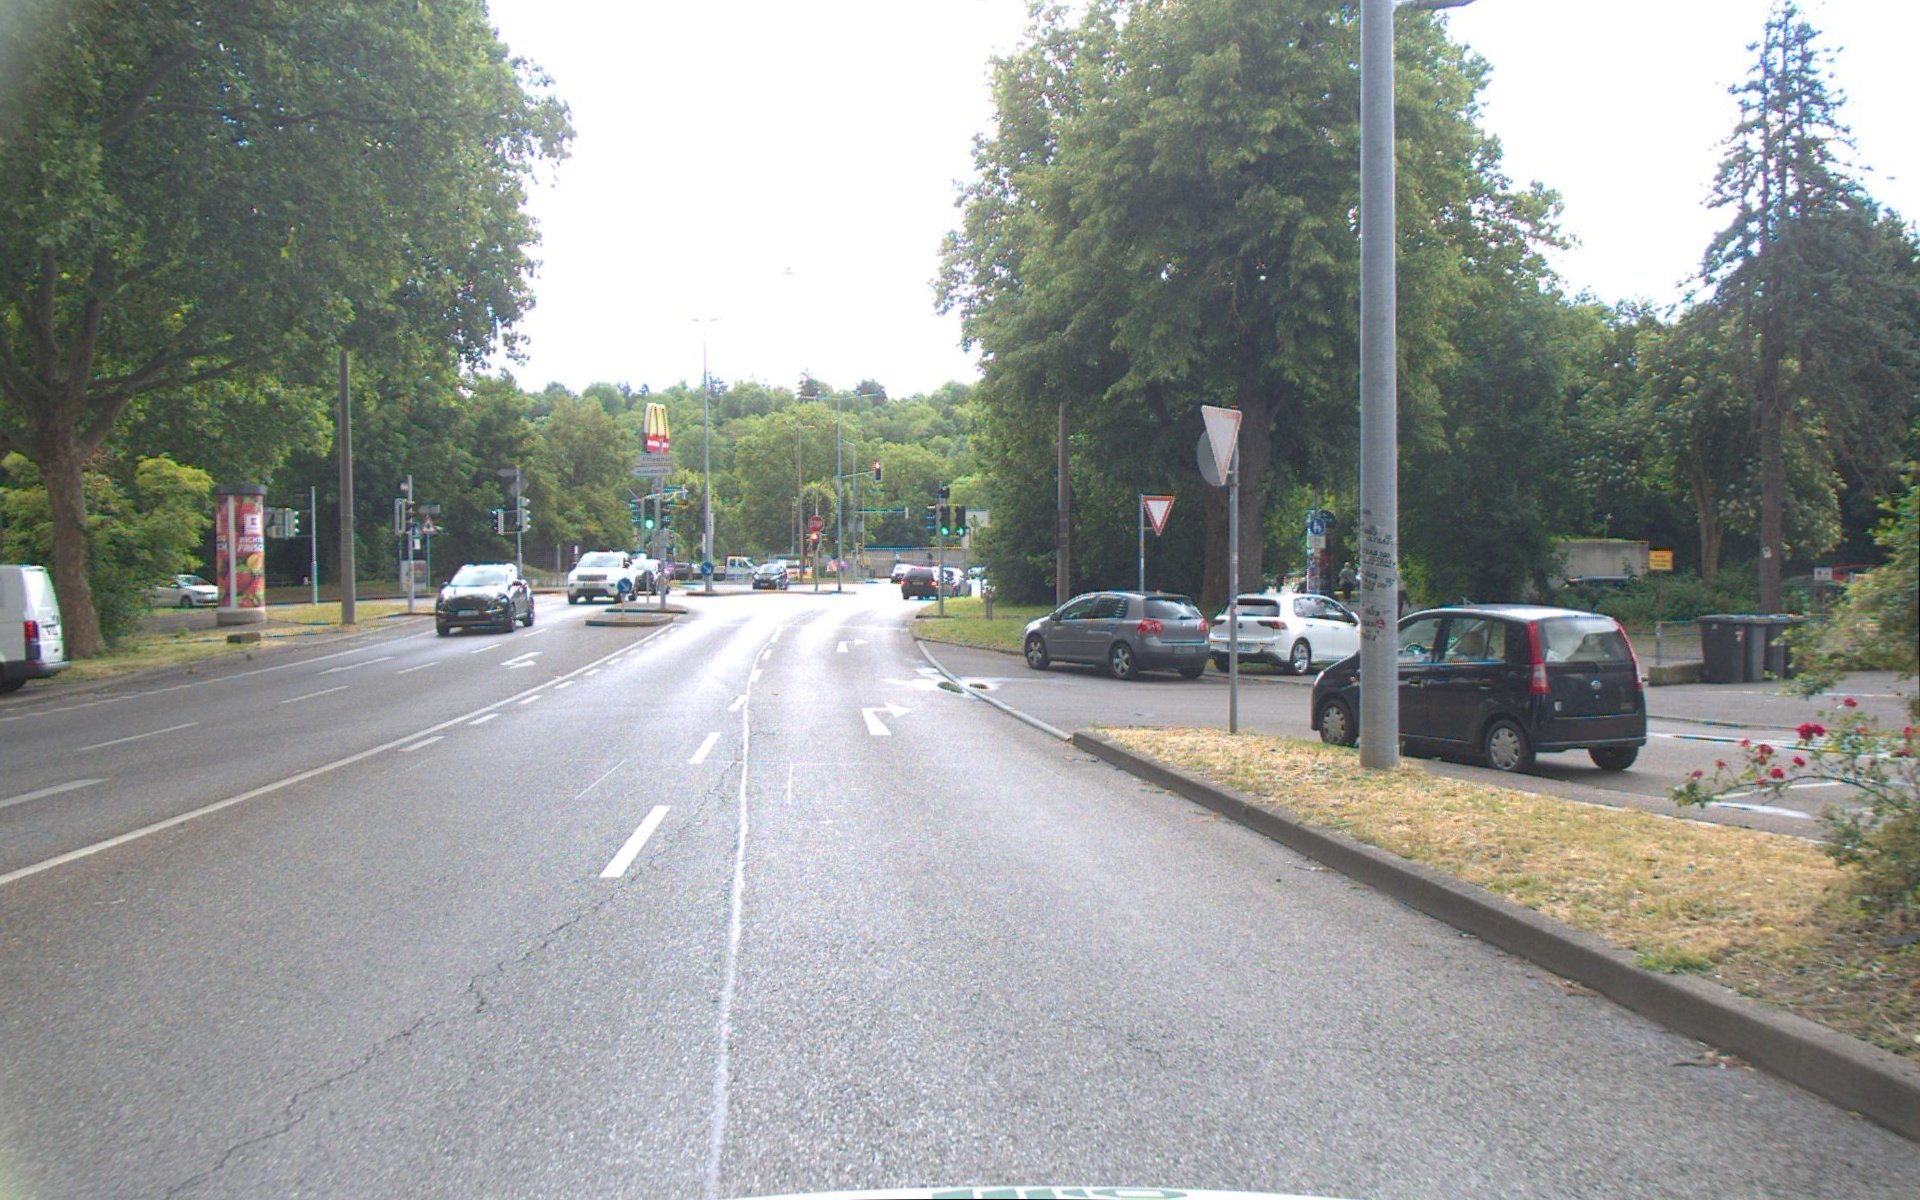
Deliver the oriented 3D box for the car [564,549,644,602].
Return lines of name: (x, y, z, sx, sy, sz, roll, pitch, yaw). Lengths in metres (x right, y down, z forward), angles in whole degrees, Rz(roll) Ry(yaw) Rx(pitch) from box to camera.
car: (-12.859, -0.920, 60.020, 1.872, 1.794, 4.753, -1, 2, 0)

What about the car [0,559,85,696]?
car: (-16.102, 0.498, 24.496, 5.145, 1.964, 2.074, -3, 1, -18)

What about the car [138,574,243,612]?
car: (-31.093, -0.296, 66.808, 3.765, 1.505, 1.825, 0, 1, 24)

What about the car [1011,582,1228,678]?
car: (2.775, 0.480, 29.610, 1.712, 1.453, 4.066, -1, 3, -33)

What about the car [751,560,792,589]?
car: (-10.707, -1.479, 94.158, 1.535, 1.553, 3.192, 0, 2, 8)

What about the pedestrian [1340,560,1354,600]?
pedestrian: (15.153, -0.767, 64.786, 0.499, 1.558, 0.779, 0, 1, 10)

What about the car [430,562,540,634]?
car: (-11.993, -0.099, 42.021, 1.761, 1.614, 4.411, -3, 2, -5)

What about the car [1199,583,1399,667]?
car: (6.394, 0.415, 30.873, 1.734, 1.404, 4.234, 1, 2, 43)

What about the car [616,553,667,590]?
car: (-13.426, -1.209, 69.848, 1.537, 1.406, 3.949, -2, 3, -3)

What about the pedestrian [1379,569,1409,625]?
pedestrian: (12.241, -0.093, 46.674, 0.669, 1.578, 0.743, 0, 1, 0)

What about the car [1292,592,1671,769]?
car: (4.919, 0.678, 16.025, 1.550, 1.428, 3.464, -1, 2, -27)

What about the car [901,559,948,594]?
car: (-1.599, -1.052, 75.629, 1.784, 1.535, 4.576, -1, 0, 3)
